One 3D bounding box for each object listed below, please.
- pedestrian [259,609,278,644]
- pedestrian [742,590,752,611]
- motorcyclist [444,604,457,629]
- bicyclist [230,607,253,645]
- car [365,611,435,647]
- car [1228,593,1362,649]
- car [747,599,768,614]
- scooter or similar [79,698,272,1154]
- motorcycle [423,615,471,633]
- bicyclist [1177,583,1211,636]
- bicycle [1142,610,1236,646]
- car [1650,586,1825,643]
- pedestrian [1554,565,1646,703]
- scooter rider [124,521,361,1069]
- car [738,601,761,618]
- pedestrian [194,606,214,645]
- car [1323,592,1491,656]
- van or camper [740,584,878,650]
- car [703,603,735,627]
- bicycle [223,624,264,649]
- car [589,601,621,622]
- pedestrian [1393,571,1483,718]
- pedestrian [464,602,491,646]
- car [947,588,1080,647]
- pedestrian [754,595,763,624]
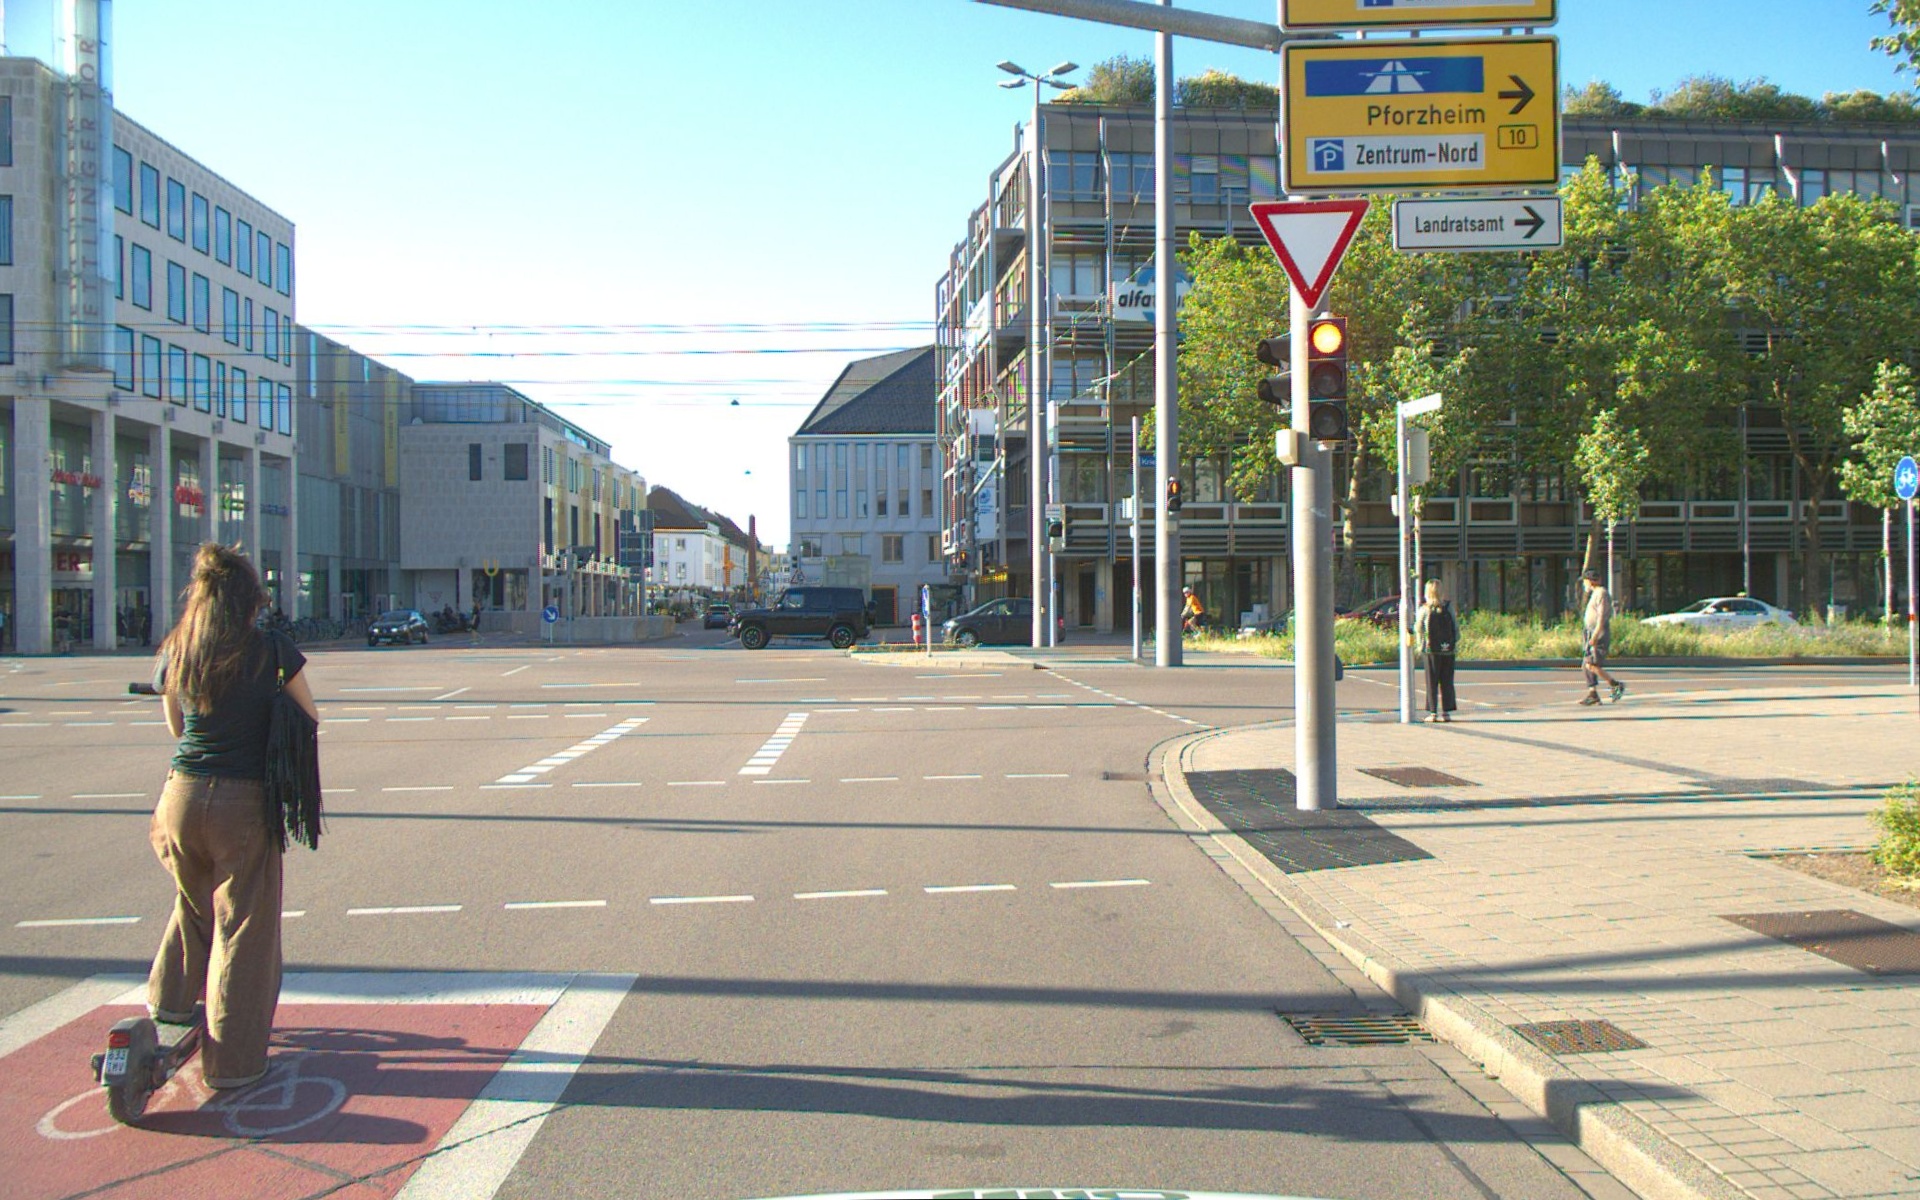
[{"bbox_3d":[-34.734,1.346,83.079,0.462,1.759,0.692,0,-1,37],"label":"pedestrian"},{"bbox_3d":[-21.150,0.054,164.360,0.892,1.999,0.822,1,-1,-1],"label":"pedestrian"},{"bbox_3d":[-30.152,0.977,97.865,0.616,1.430,0.661,1,-1,-9],"label":"motorcyclist"},{"bbox_3d":[-27.897,0.994,64.201,0.613,1.473,0.589,-1,0,0],"label":"bicyclist"},{"bbox_3d":[-23.481,1.191,69.444,1.642,1.381,4.019,-1,0,-2],"label":"car"},{"bbox_3d":[10.867,0.666,53.781,3.908,1.713,1.824,-1,0,-4],"label":"car"},{"bbox_3d":[-20.315,0.607,165.985,1.625,1.484,3.541,-1,0,-1],"label":"car"},{"bbox_3d":[-2.218,0.872,4.731,0.301,1.127,0.836,-1,0,-12],"label":"scooter or similar"},{"bbox_3d":[-30.311,1.415,97.673,2.555,1.010,1.113,1,0,-10],"label":"motorcycle"},{"bbox_3d":[6.676,0.278,47.221,0.806,1.500,0.652,-1,0,-5],"label":"bicyclist"},{"bbox_3d":[6.520,0.797,47.201,2.517,0.992,1.047,-1,0,-4],"label":"bicycle"},{"bbox_3d":[24.578,0.453,52.370,4.749,1.713,1.824,-1,0,-4],"label":"car"},{"bbox_3d":[8.241,0.428,21.317,0.854,1.736,0.768,-1,0,-3],"label":"pedestrian"},{"bbox_3d":[-2.138,0.552,4.975,0.542,1.556,0.448,-1,0,-9],"label":"scooter rider"},{"bbox_3d":[-18.558,0.841,145.644,1.625,1.484,3.541,-1,0,-1],"label":"car"},{"bbox_3d":[-32.533,1.107,71.169,0.580,1.674,0.629,-1,0,-1],"label":"pedestrian"},{"bbox_3d":[12.585,0.646,46.643,4.212,1.713,1.820,-1,0,-11],"label":"car"},{"bbox_3d":[-4.832,0.524,53.064,4.329,2.049,1.993,-1,0,-5],"label":"van or camper"},{"bbox_3d":[-15.697,0.965,107.821,1.625,1.484,3.541,-1,0,-1],"label":"car"},{"bbox_3d":[-27.882,1.413,64.420,0.622,0.919,2.218,-1,0,0],"label":"bicycle"},{"bbox_3d":[-26.064,0.862,121.637,1.625,1.484,3.541,-1,0,-1],"label":"car"},{"bbox_3d":[5.483,0.500,19.010,0.750,1.642,0.874,-1,0,-2],"label":"pedestrian"},{"bbox_3d":[-18.349,0.905,62.909,0.760,1.667,0.626,-1,0,12],"label":"pedestrian"},{"bbox_3d":[1.580,0.506,50.018,3.907,1.713,1.761,-1,0,-2],"label":"car"},{"bbox_3d":[-11.738,0.565,96.364,0.481,1.693,0.529,1,-1,-15],"label":"pedestrian"}]
